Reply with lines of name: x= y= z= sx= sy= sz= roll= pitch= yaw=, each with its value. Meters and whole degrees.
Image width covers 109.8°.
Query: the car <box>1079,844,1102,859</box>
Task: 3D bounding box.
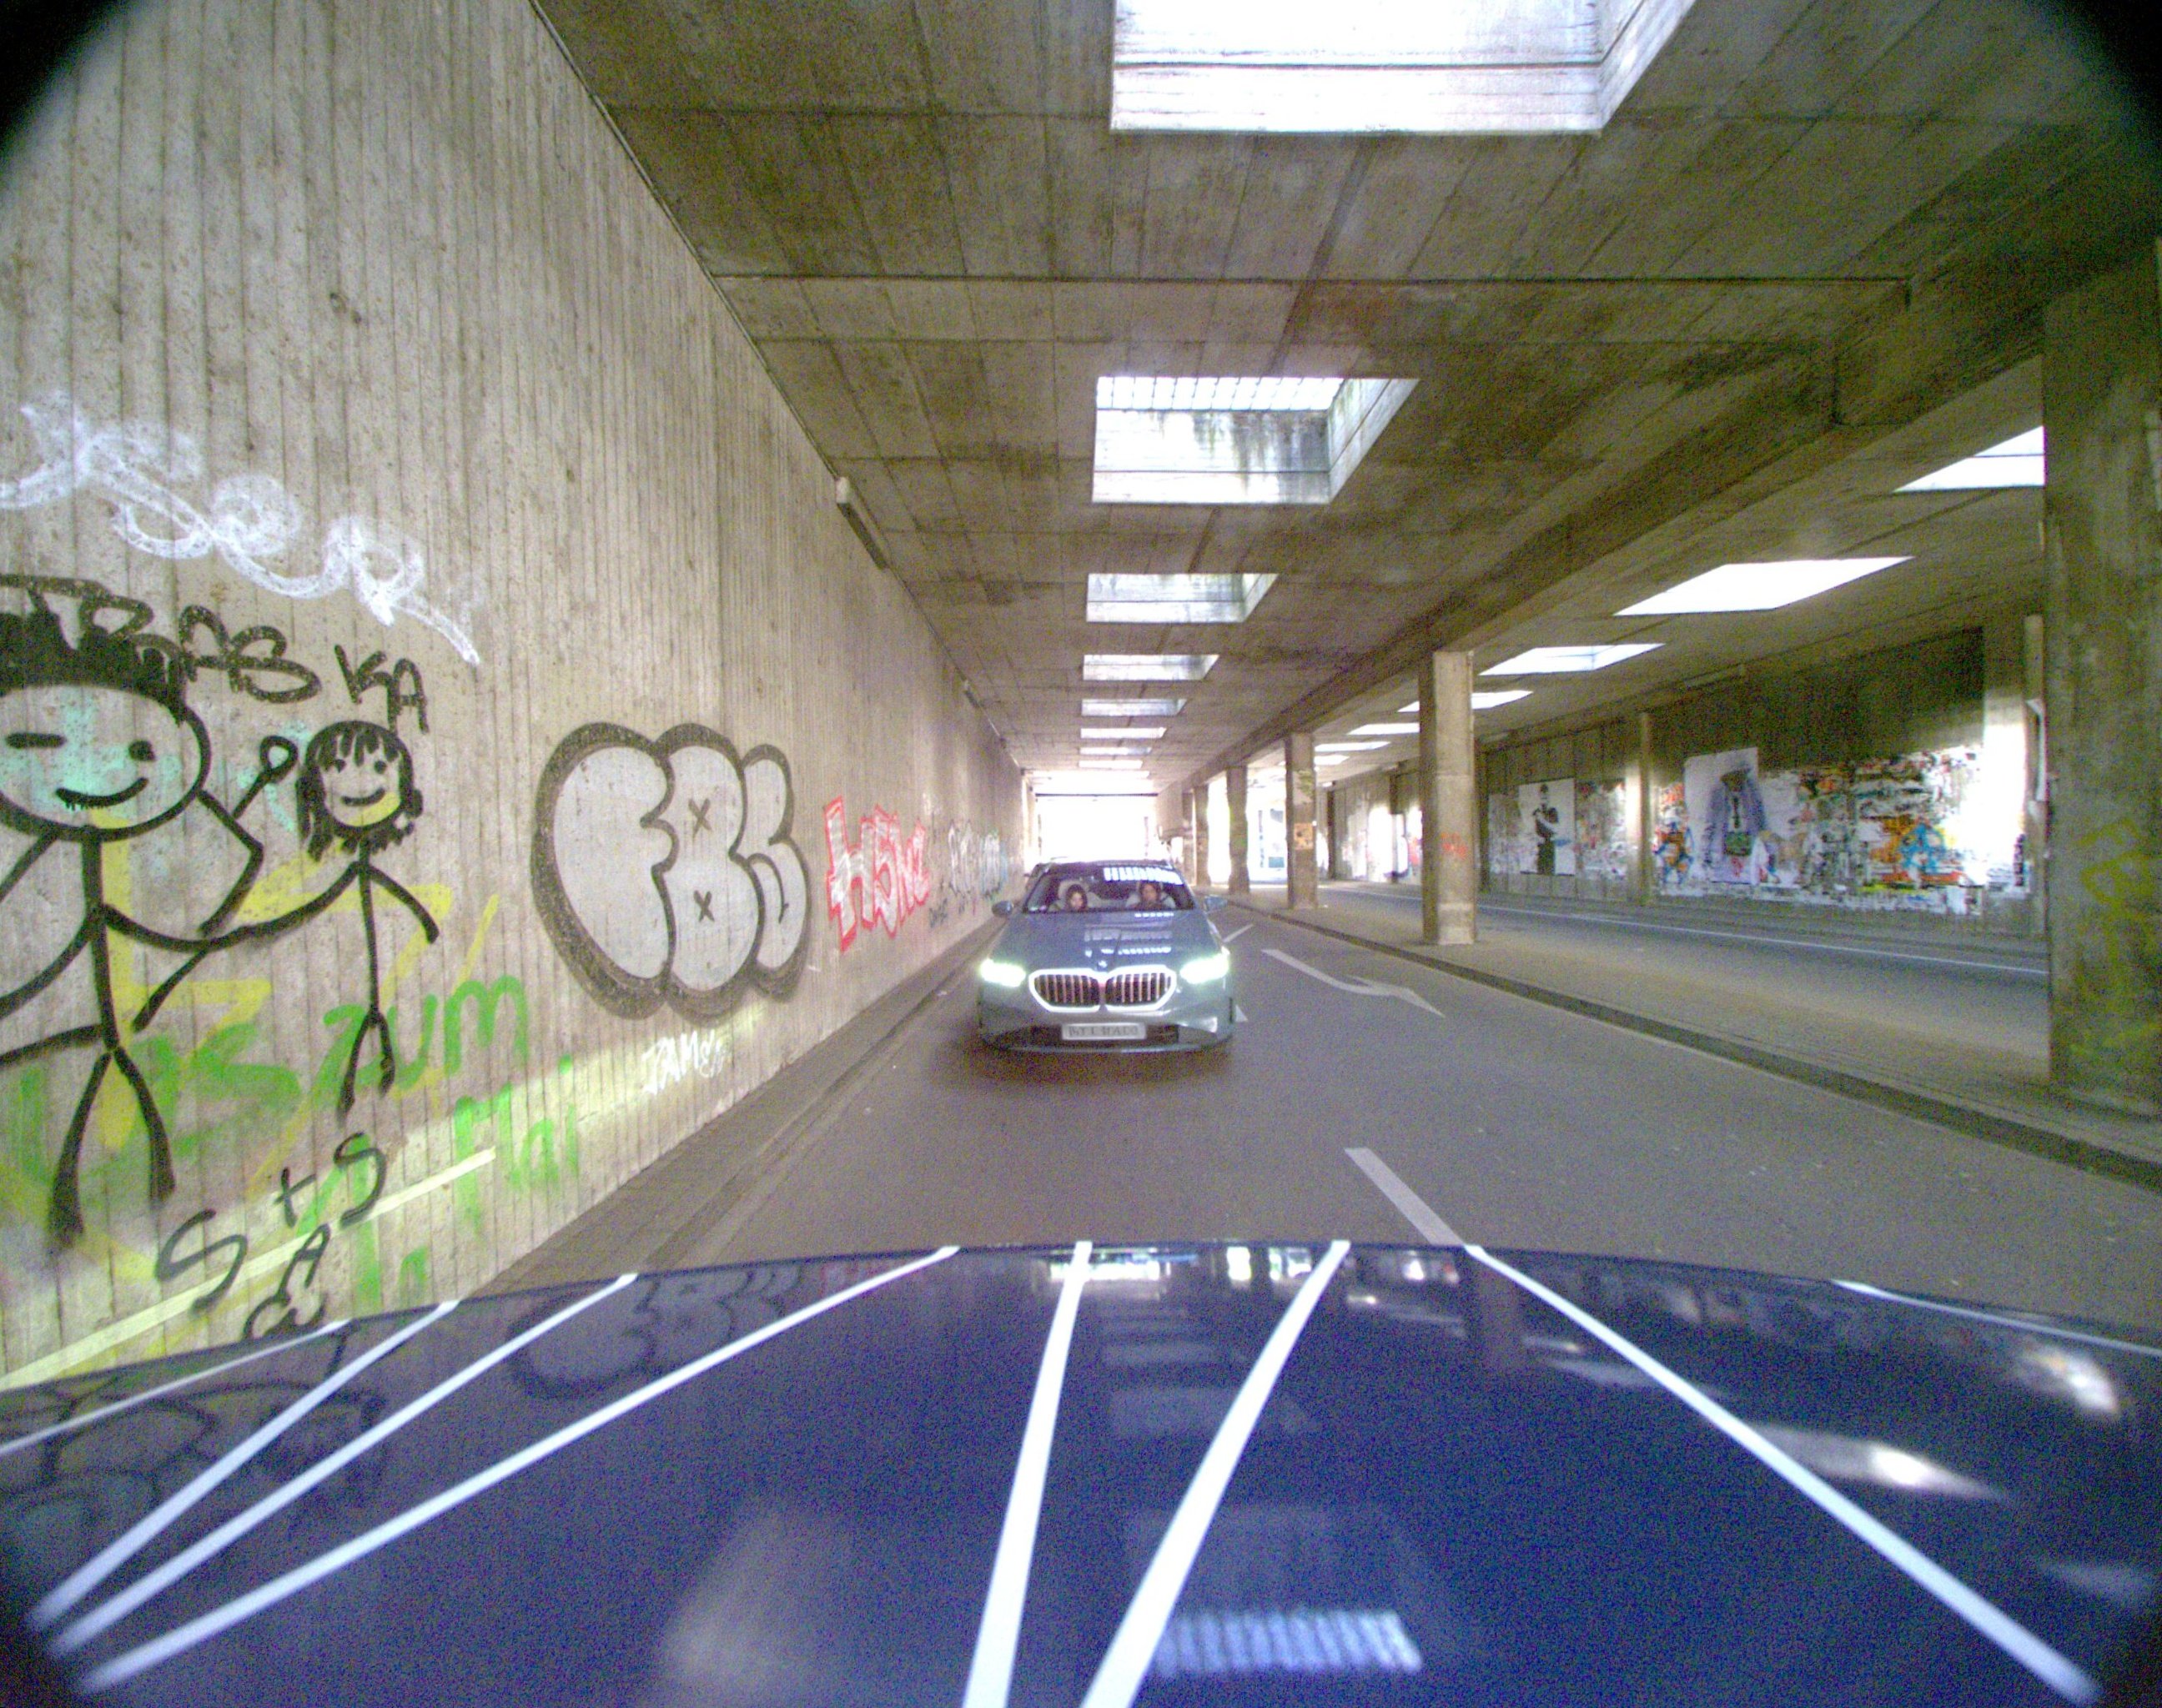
car: x=1.218 y=-0.345 z=103.521 sx=2.361 sy=2.002 sz=5.146 roll=-1 pitch=0 yaw=-8

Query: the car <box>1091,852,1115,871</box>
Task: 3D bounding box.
car: x=1.765 y=0.604 z=61.239 sx=1.784 sy=1.438 sz=4.178 roll=-1 pitch=0 yaw=0

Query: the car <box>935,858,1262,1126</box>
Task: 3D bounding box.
car: x=0.188 y=0.879 z=7.296 sx=1.998 sy=1.594 sz=5.176 roll=-1 pitch=0 yaw=2

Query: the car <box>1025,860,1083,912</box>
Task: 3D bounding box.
car: x=-0.786 y=0.944 z=23.871 sx=1.593 sy=1.387 sz=3.833 roll=-2 pitch=0 yaw=1

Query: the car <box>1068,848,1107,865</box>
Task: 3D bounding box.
car: x=0.673 y=0.241 z=79.264 sx=3.997 sy=1.696 sz=2.000 roll=-1 pitch=0 yaw=-1

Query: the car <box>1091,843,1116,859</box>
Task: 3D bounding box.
car: x=2.872 y=-0.337 z=97.508 sx=2.361 sy=2.002 sz=5.146 roll=-1 pitch=0 yaw=-8

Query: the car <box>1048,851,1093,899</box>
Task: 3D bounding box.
car: x=-0.362 y=0.763 z=29.877 sx=1.581 sy=1.676 sz=4.078 roll=-2 pitch=0 yaw=1
